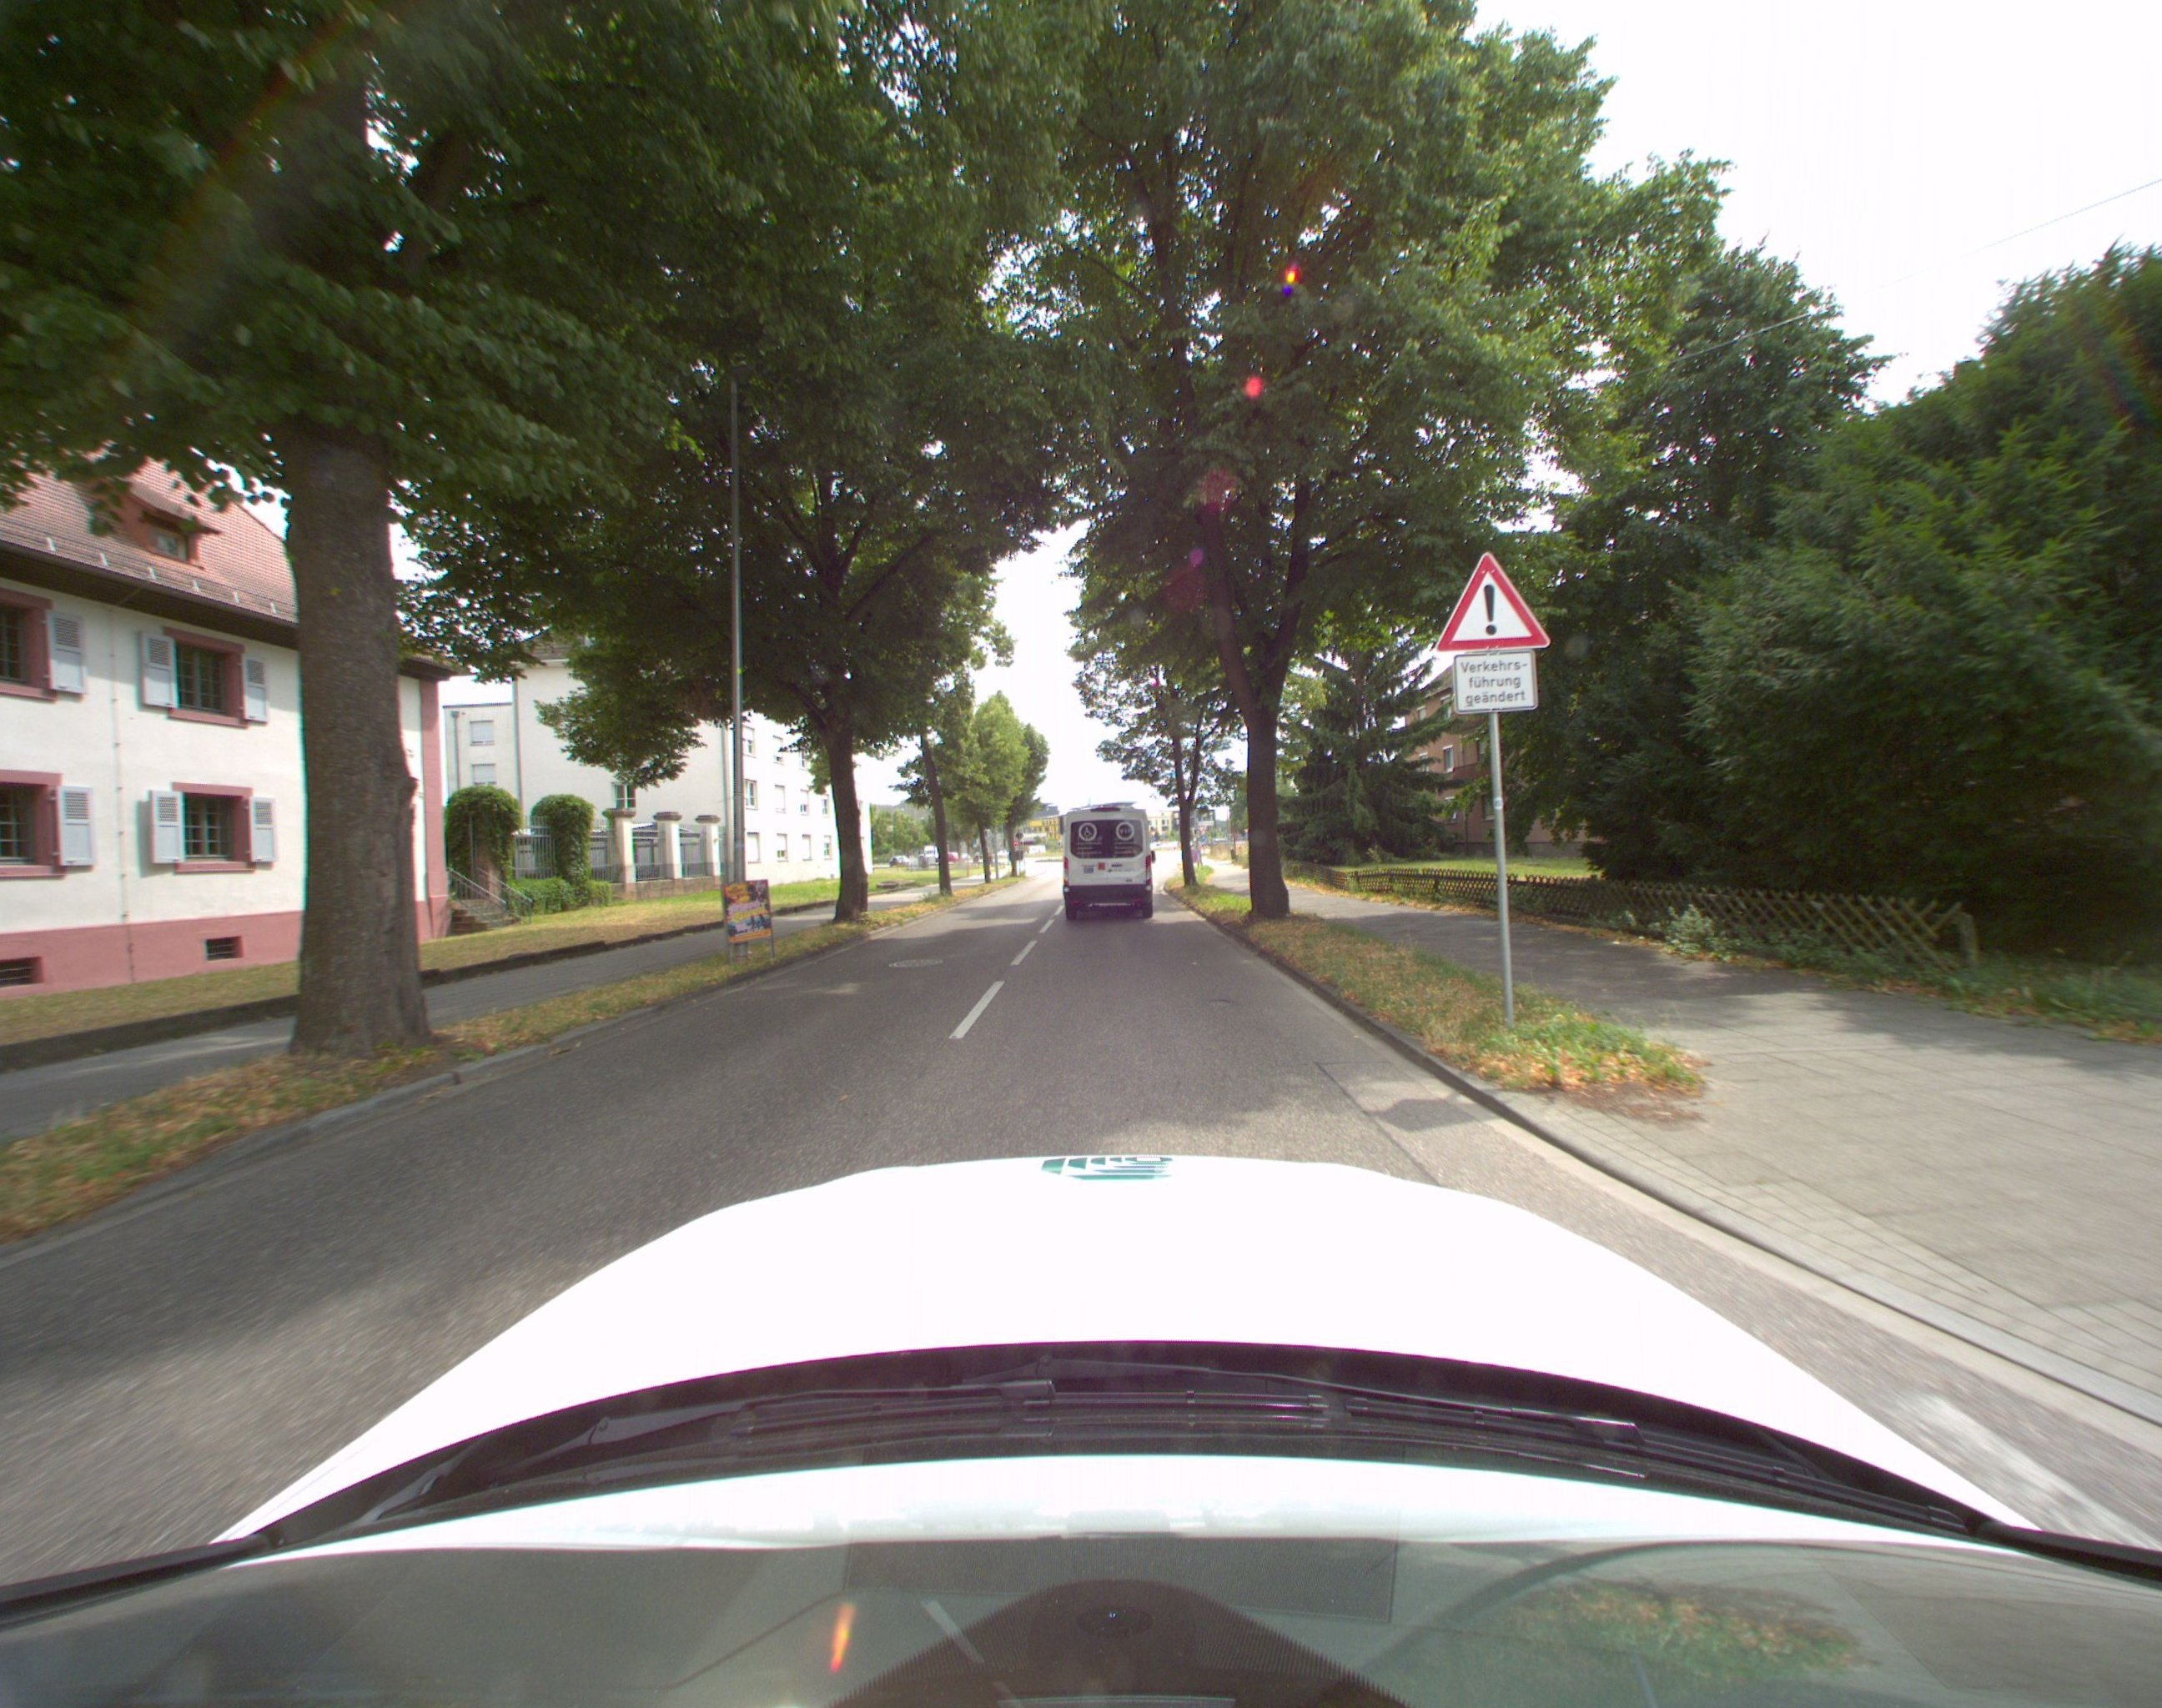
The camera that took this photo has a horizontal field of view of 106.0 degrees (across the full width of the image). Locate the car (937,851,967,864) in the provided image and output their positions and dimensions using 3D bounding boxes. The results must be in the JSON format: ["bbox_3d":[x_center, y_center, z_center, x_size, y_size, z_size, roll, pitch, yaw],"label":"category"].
[{"bbox_3d":[-18.677,0.506,118.208,3.948,1.662,1.903,-4,0,33],"label":"car"}]

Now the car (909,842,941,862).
[{"bbox_3d":[-24.583,-0.307,128.182,2.631,2.851,5.611,-5,0,-37],"label":"car"}]

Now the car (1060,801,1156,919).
[{"bbox_3d":[0.606,0.109,19.571,2.056,2.539,4.000,-1,1,0],"label":"car"}]
